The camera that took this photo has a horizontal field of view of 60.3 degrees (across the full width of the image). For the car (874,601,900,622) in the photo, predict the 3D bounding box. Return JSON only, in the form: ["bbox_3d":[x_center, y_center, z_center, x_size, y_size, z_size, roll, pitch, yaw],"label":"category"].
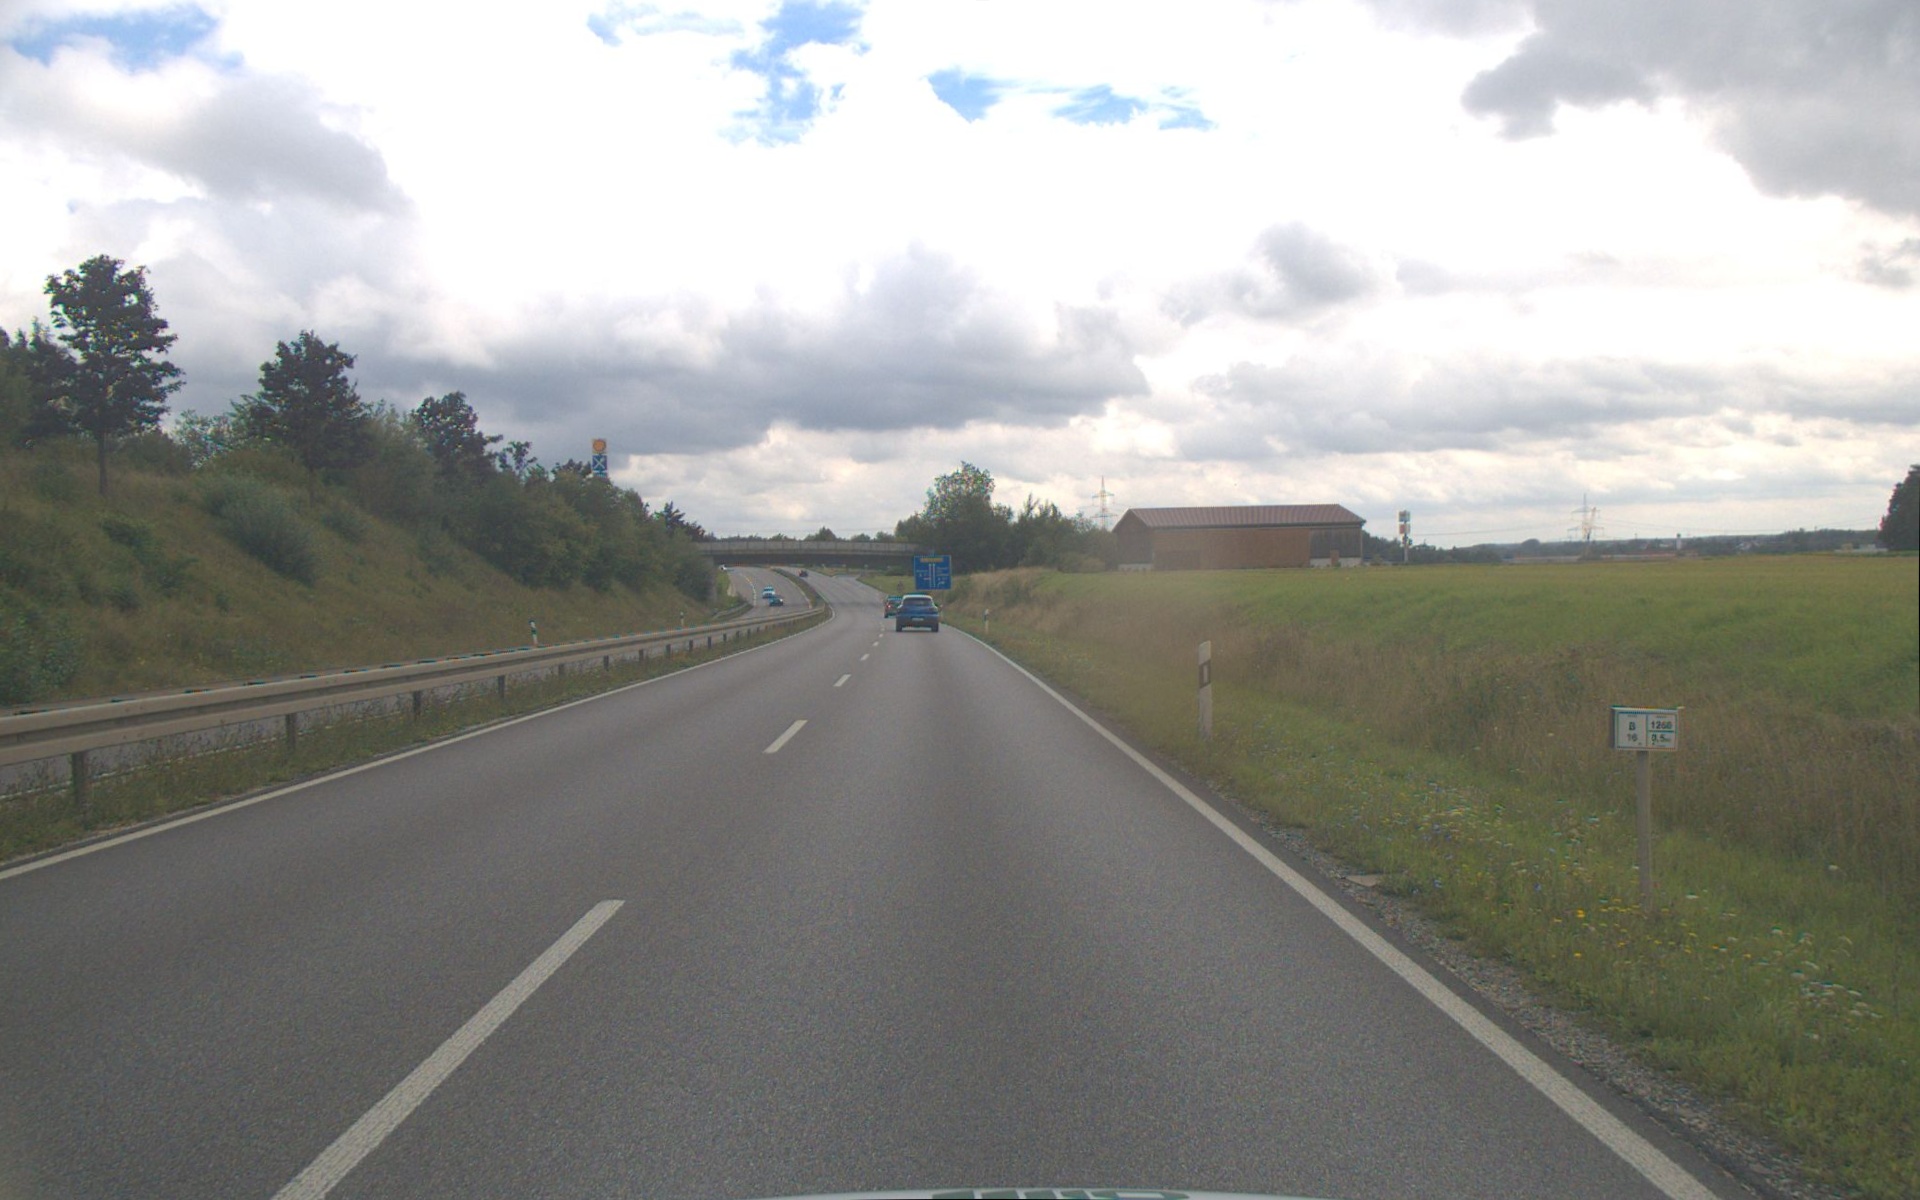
[{"bbox_3d":[-5.831,0.909,131.398,1.880,1.478,4.359,-1,1,-5],"label":"car"}]

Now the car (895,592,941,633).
[{"bbox_3d":[-1.907,0.536,74.509,1.992,1.689,4.542,0,2,-2],"label":"car"}]

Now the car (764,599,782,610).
[{"bbox_3d":[-23.898,0.559,211.147,1.954,1.327,4.819,-1,1,-3],"label":"car"}]

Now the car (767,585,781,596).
[{"bbox_3d":[-27.576,-1.369,245.233,1.954,1.478,3.997,-1,1,-4],"label":"car"}]
